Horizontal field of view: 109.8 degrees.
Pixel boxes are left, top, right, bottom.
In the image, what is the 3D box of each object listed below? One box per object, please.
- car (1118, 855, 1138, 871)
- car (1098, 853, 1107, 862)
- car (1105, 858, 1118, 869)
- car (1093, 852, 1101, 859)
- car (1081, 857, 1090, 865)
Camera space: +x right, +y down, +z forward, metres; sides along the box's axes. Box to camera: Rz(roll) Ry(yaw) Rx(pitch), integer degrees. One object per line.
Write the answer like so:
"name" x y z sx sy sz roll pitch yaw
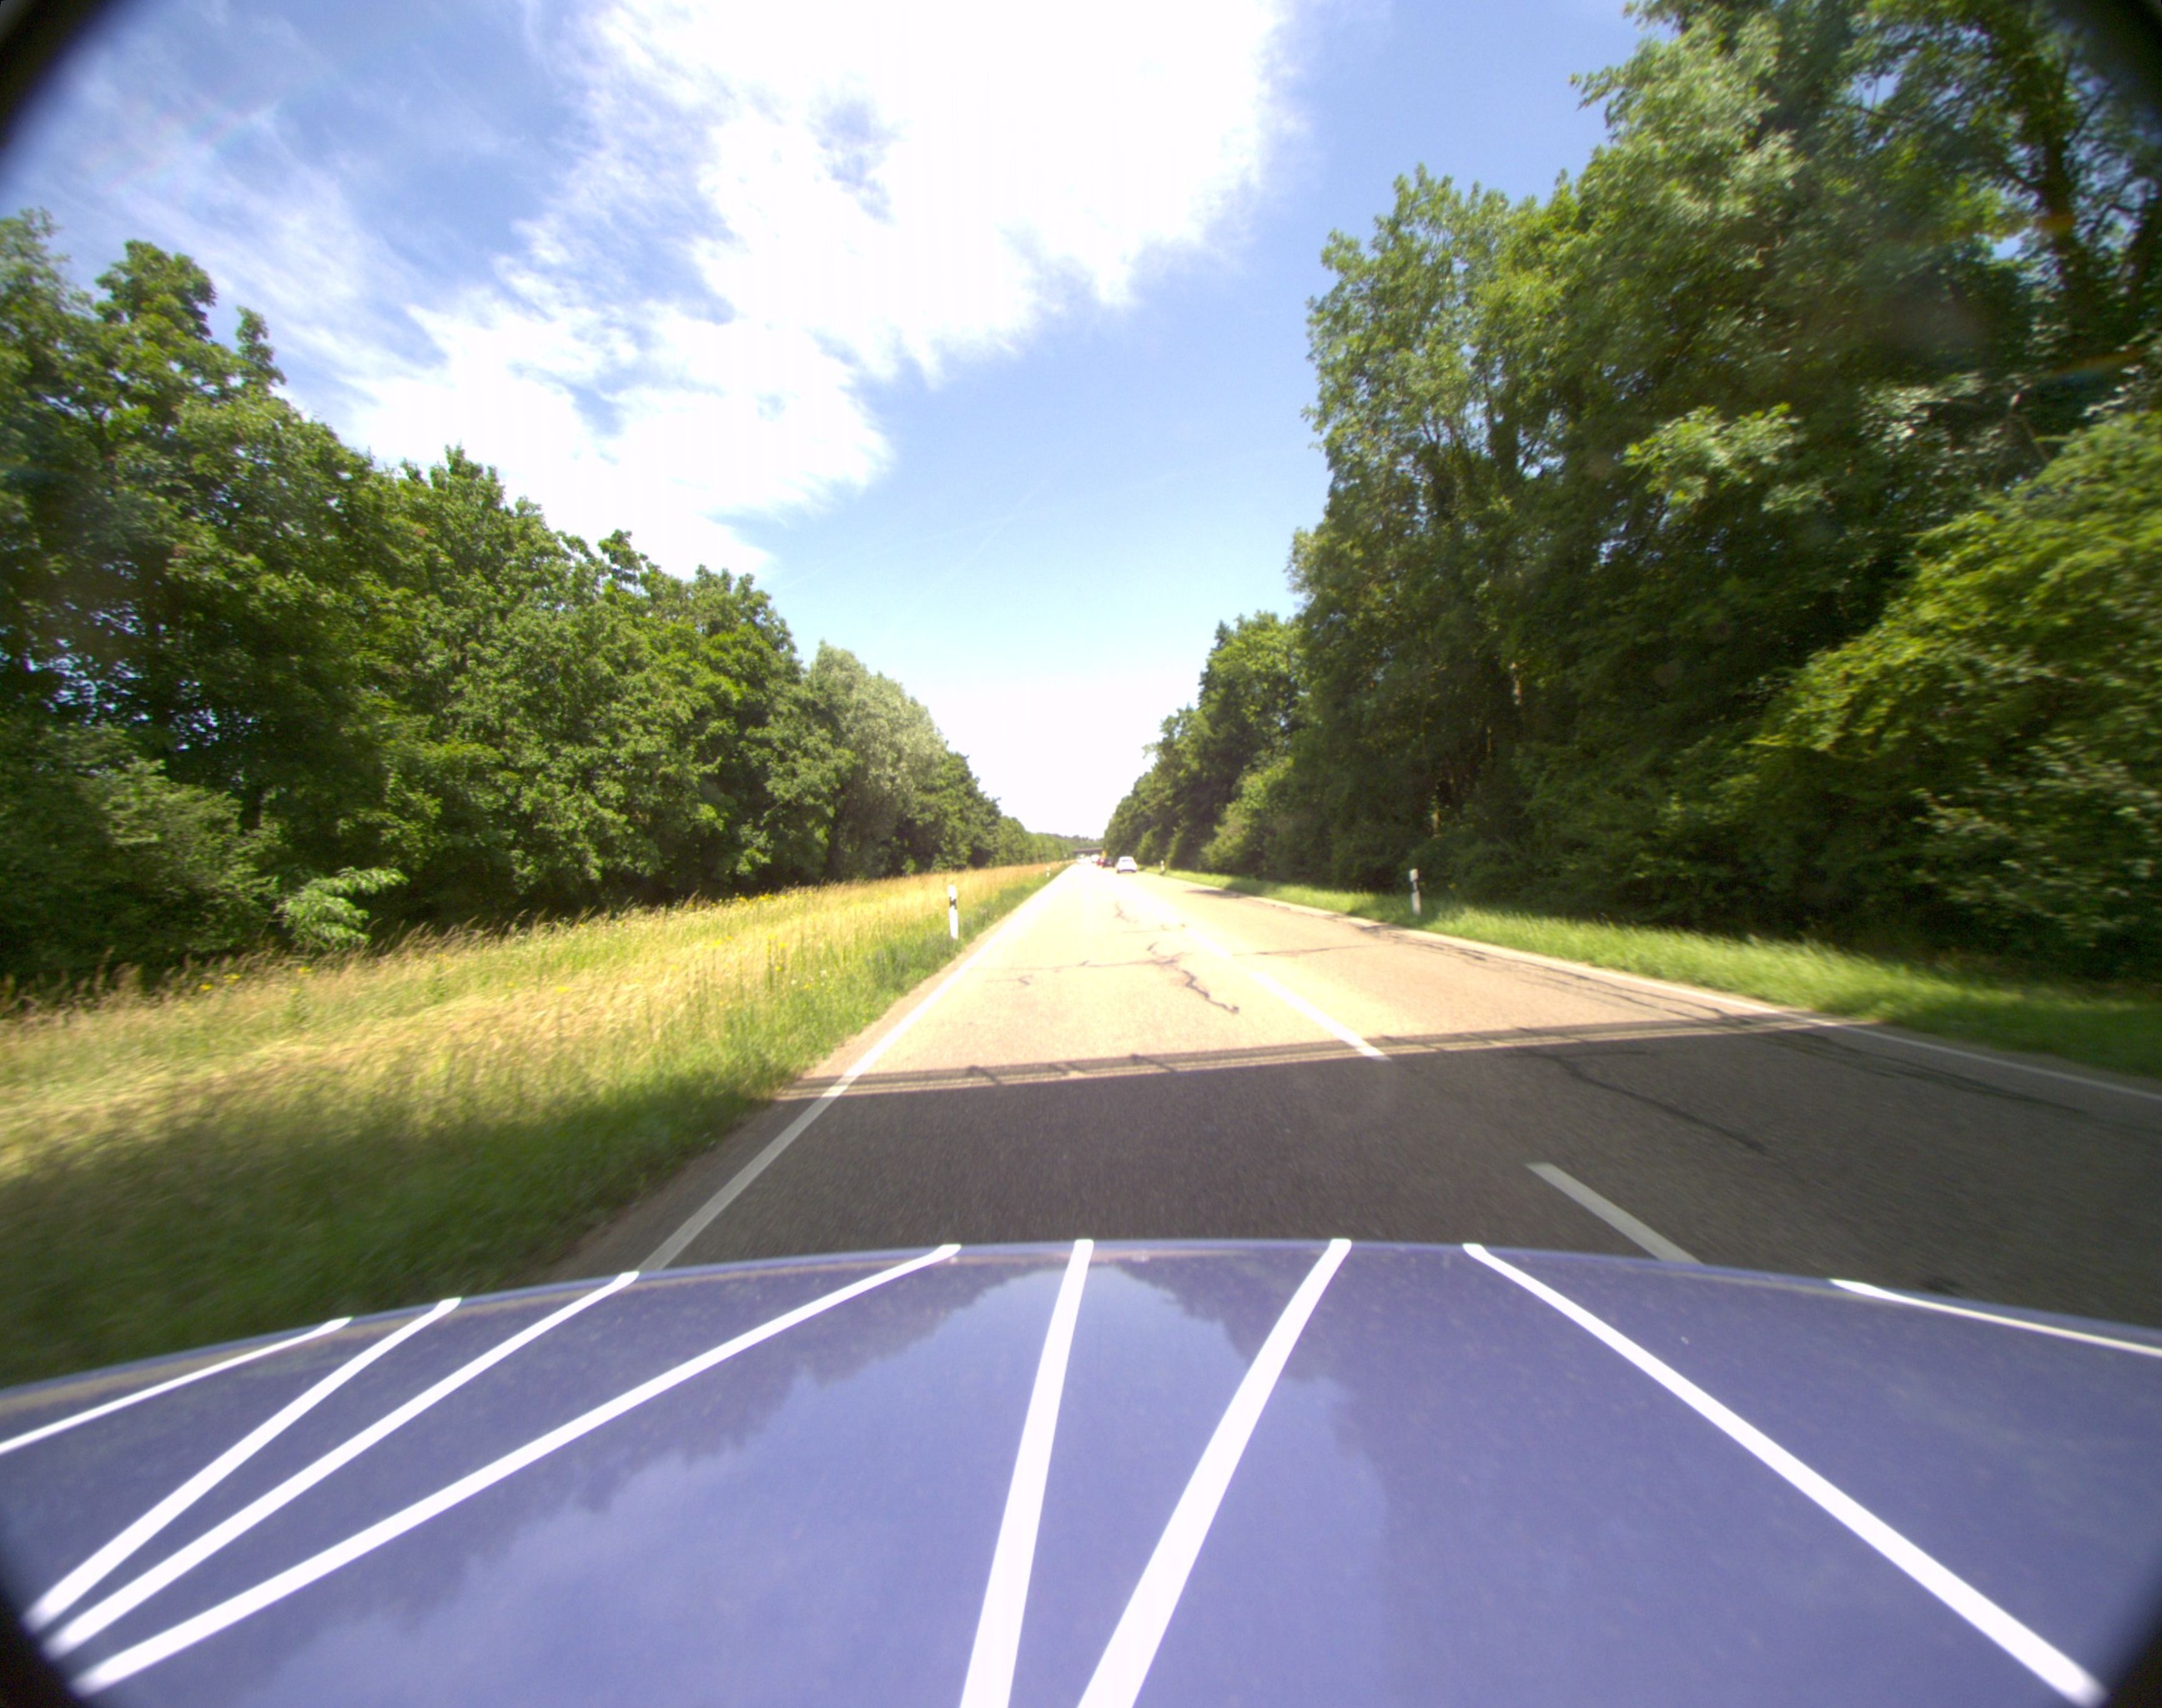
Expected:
"car" 4.407 0.848 71.469 1.682 1.425 3.772 -2 0 0
"car" 3.952 0.591 140.006 1.686 1.484 4.000 -2 0 2
"car" 4.251 1.324 107.072 1.788 1.441 4.110 -2 0 2
"car" 4.160 0.363 196.009 1.880 1.917 4.987 -2 0 0
"car" 1.043 1.621 183.271 1.865 1.747 3.999 -3 0 -1
